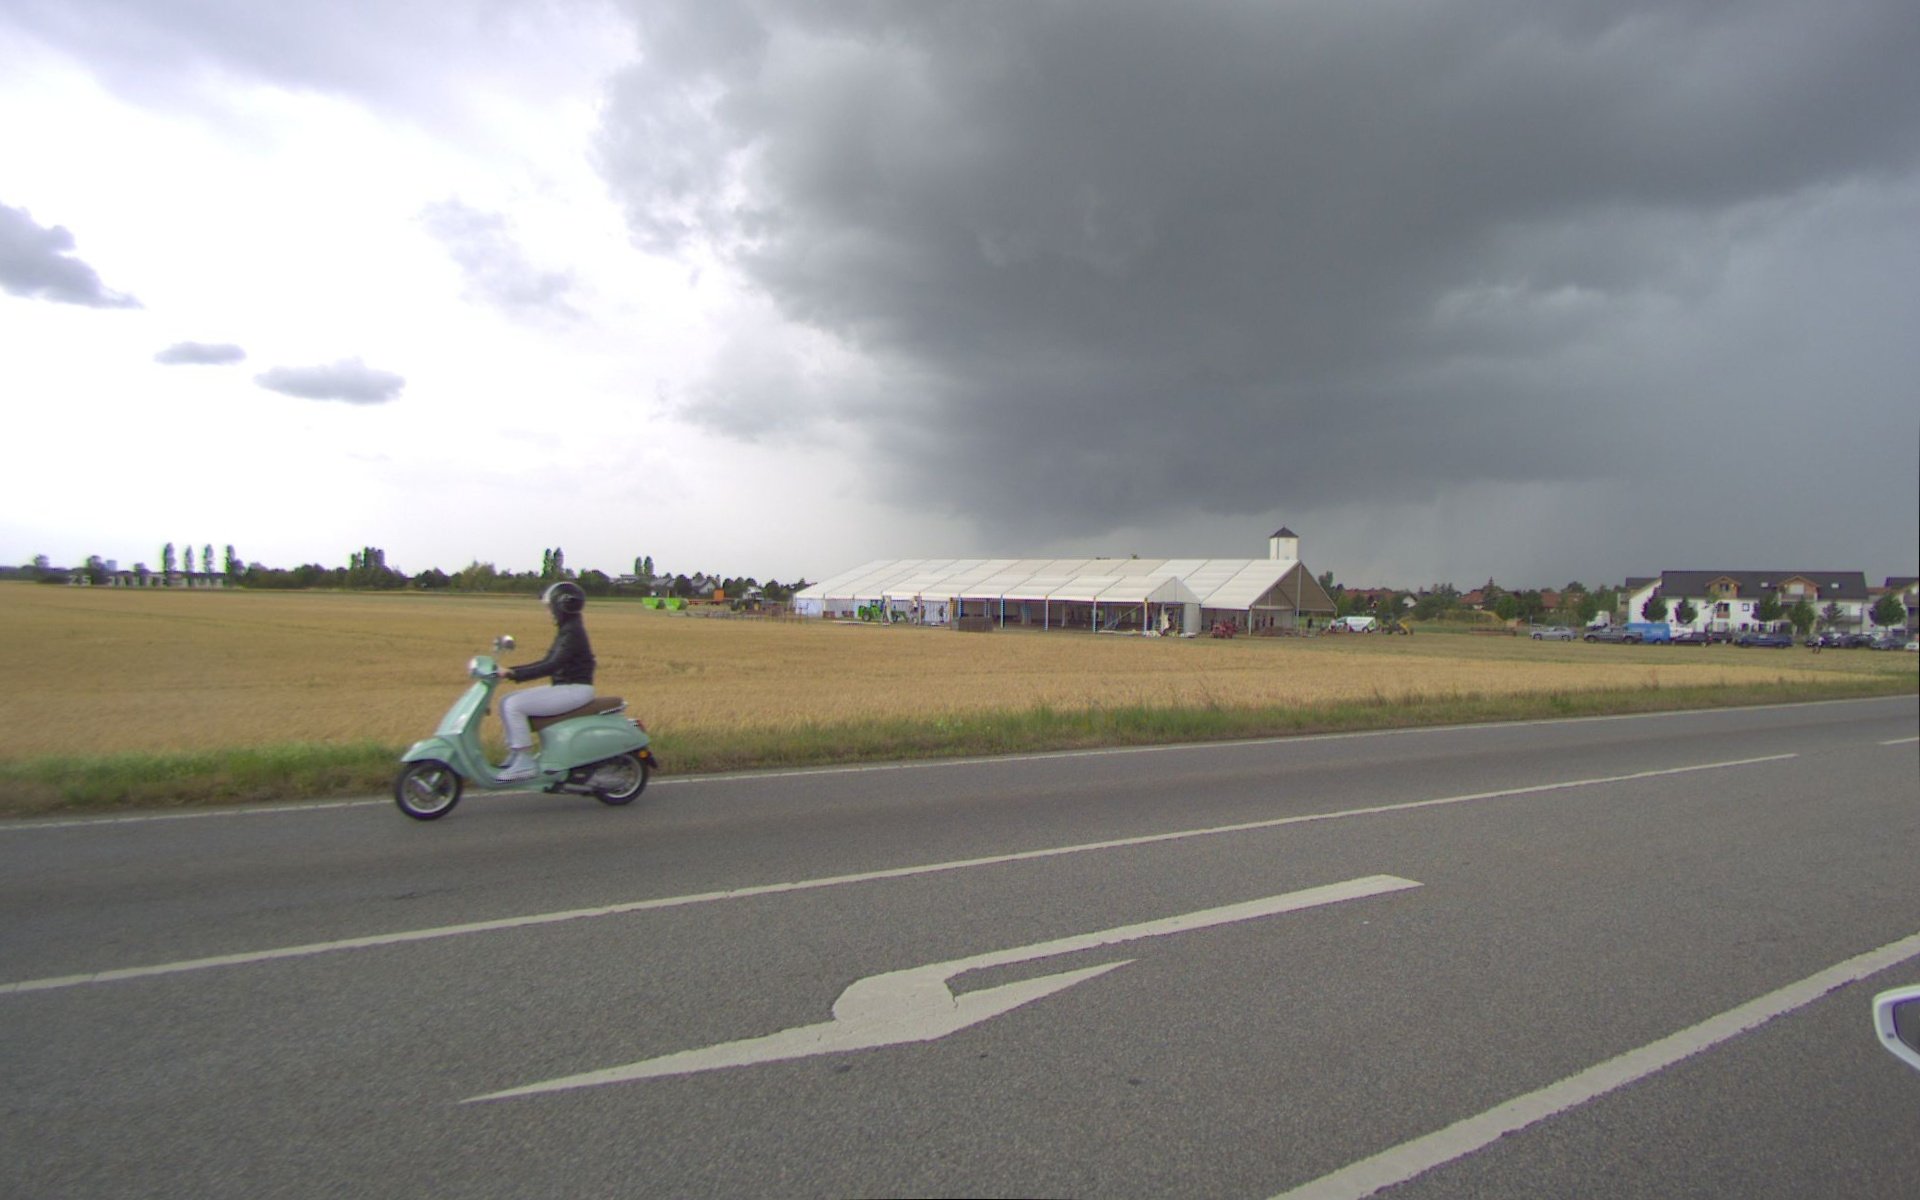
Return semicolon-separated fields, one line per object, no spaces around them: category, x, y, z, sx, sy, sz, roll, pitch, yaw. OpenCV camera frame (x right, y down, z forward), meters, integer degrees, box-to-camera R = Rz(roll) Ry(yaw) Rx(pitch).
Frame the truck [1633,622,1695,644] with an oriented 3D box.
truck;77.416;3.644;110.619;5.490;2.226;2.599;1;-1;35

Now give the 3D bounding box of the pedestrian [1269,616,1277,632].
pedestrian;34.913;2.669;112.152;0.643;1.767;0.727;1;0;3

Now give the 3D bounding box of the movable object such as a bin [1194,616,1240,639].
movable object such as a bin;22.415;2.370;87.501;2.554;1.889;4.461;1;-1;34

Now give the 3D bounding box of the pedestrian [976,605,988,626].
pedestrian;2.160;1.531;99.653;1.006;2.040;0.806;1;0;-6

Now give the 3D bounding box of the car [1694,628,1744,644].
car;87.304;4.153;115.619;4.567;1.719;1.992;1;-1;38

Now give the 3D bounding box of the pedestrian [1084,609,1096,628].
pedestrian;14.945;2.088;115.363;0.931;2.130;0.860;2;-1;-34

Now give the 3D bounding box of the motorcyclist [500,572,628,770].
motorcyclist;-2.993;0.514;7.575;0.799;1.402;0.637;2;-1;-29

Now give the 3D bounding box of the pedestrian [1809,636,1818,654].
pedestrian;76.182;3.996;89.678;0.582;1.576;0.623;1;-1;38

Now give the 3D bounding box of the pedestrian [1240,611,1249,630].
pedestrian;31.149;2.242;109.856;0.860;2.040;0.768;1;0;17

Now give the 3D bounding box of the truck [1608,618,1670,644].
truck;71.487;3.238;105.855;5.375;2.478;2.387;1;-1;35

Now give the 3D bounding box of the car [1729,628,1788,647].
car;81.493;3.803;102.555;4.656;1.719;1.992;1;-1;38

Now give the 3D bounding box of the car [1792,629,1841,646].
car;90.966;3.955;106.666;4.141;1.650;1.994;1;-1;-15

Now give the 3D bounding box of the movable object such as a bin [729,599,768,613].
movable object such as a bin;-32.461;0.988;154.272;2.526;2.040;5.391;1;0;38

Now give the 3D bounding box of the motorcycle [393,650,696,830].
motorcycle;-3.078;0.976;7.522;2.000;1.164;0.722;1;-1;-30

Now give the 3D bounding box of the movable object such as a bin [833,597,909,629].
movable object such as a bin;-9.786;1.434;110.222;7.460;3.219;4.143;2;0;37

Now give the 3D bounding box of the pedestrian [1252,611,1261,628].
pedestrian;32.884;2.148;111.488;0.717;1.803;0.760;1;0;-1

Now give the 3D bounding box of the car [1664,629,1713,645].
car;76.848;3.917;105.985;4.102;1.539;1.992;1;-1;37

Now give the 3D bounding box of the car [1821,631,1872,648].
car;90.722;4.033;102.778;4.141;1.650;1.994;1;-1;-15

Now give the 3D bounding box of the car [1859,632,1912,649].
car;92.013;4.015;99.862;4.141;1.556;1.994;1;-1;-15

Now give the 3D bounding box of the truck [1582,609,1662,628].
truck;97.498;2.694;148.097;3.267;2.563;9.285;2;-1;-34

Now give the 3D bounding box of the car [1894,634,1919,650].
car;93.129;4.076;97.304;4.141;1.465;1.994;1;-1;-15

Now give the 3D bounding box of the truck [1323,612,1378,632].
truck;47.777;2.730;122.926;5.956;2.246;2.715;1;-1;30

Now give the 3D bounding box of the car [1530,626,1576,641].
car;65.292;3.656;110.647;4.233;1.480;1.887;1;-1;31

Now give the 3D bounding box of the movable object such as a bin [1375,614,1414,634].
movable object such as a bin;50.619;2.785;116.984;3.926;2.272;1.882;1;-1;30

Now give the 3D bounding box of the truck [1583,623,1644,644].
truck;67.730;3.460;104.240;5.151;1.946;2.108;1;-1;31

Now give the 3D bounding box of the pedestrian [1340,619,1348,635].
pedestrian;44.578;3.138;116.566;0.680;1.799;0.691;1;-1;42
